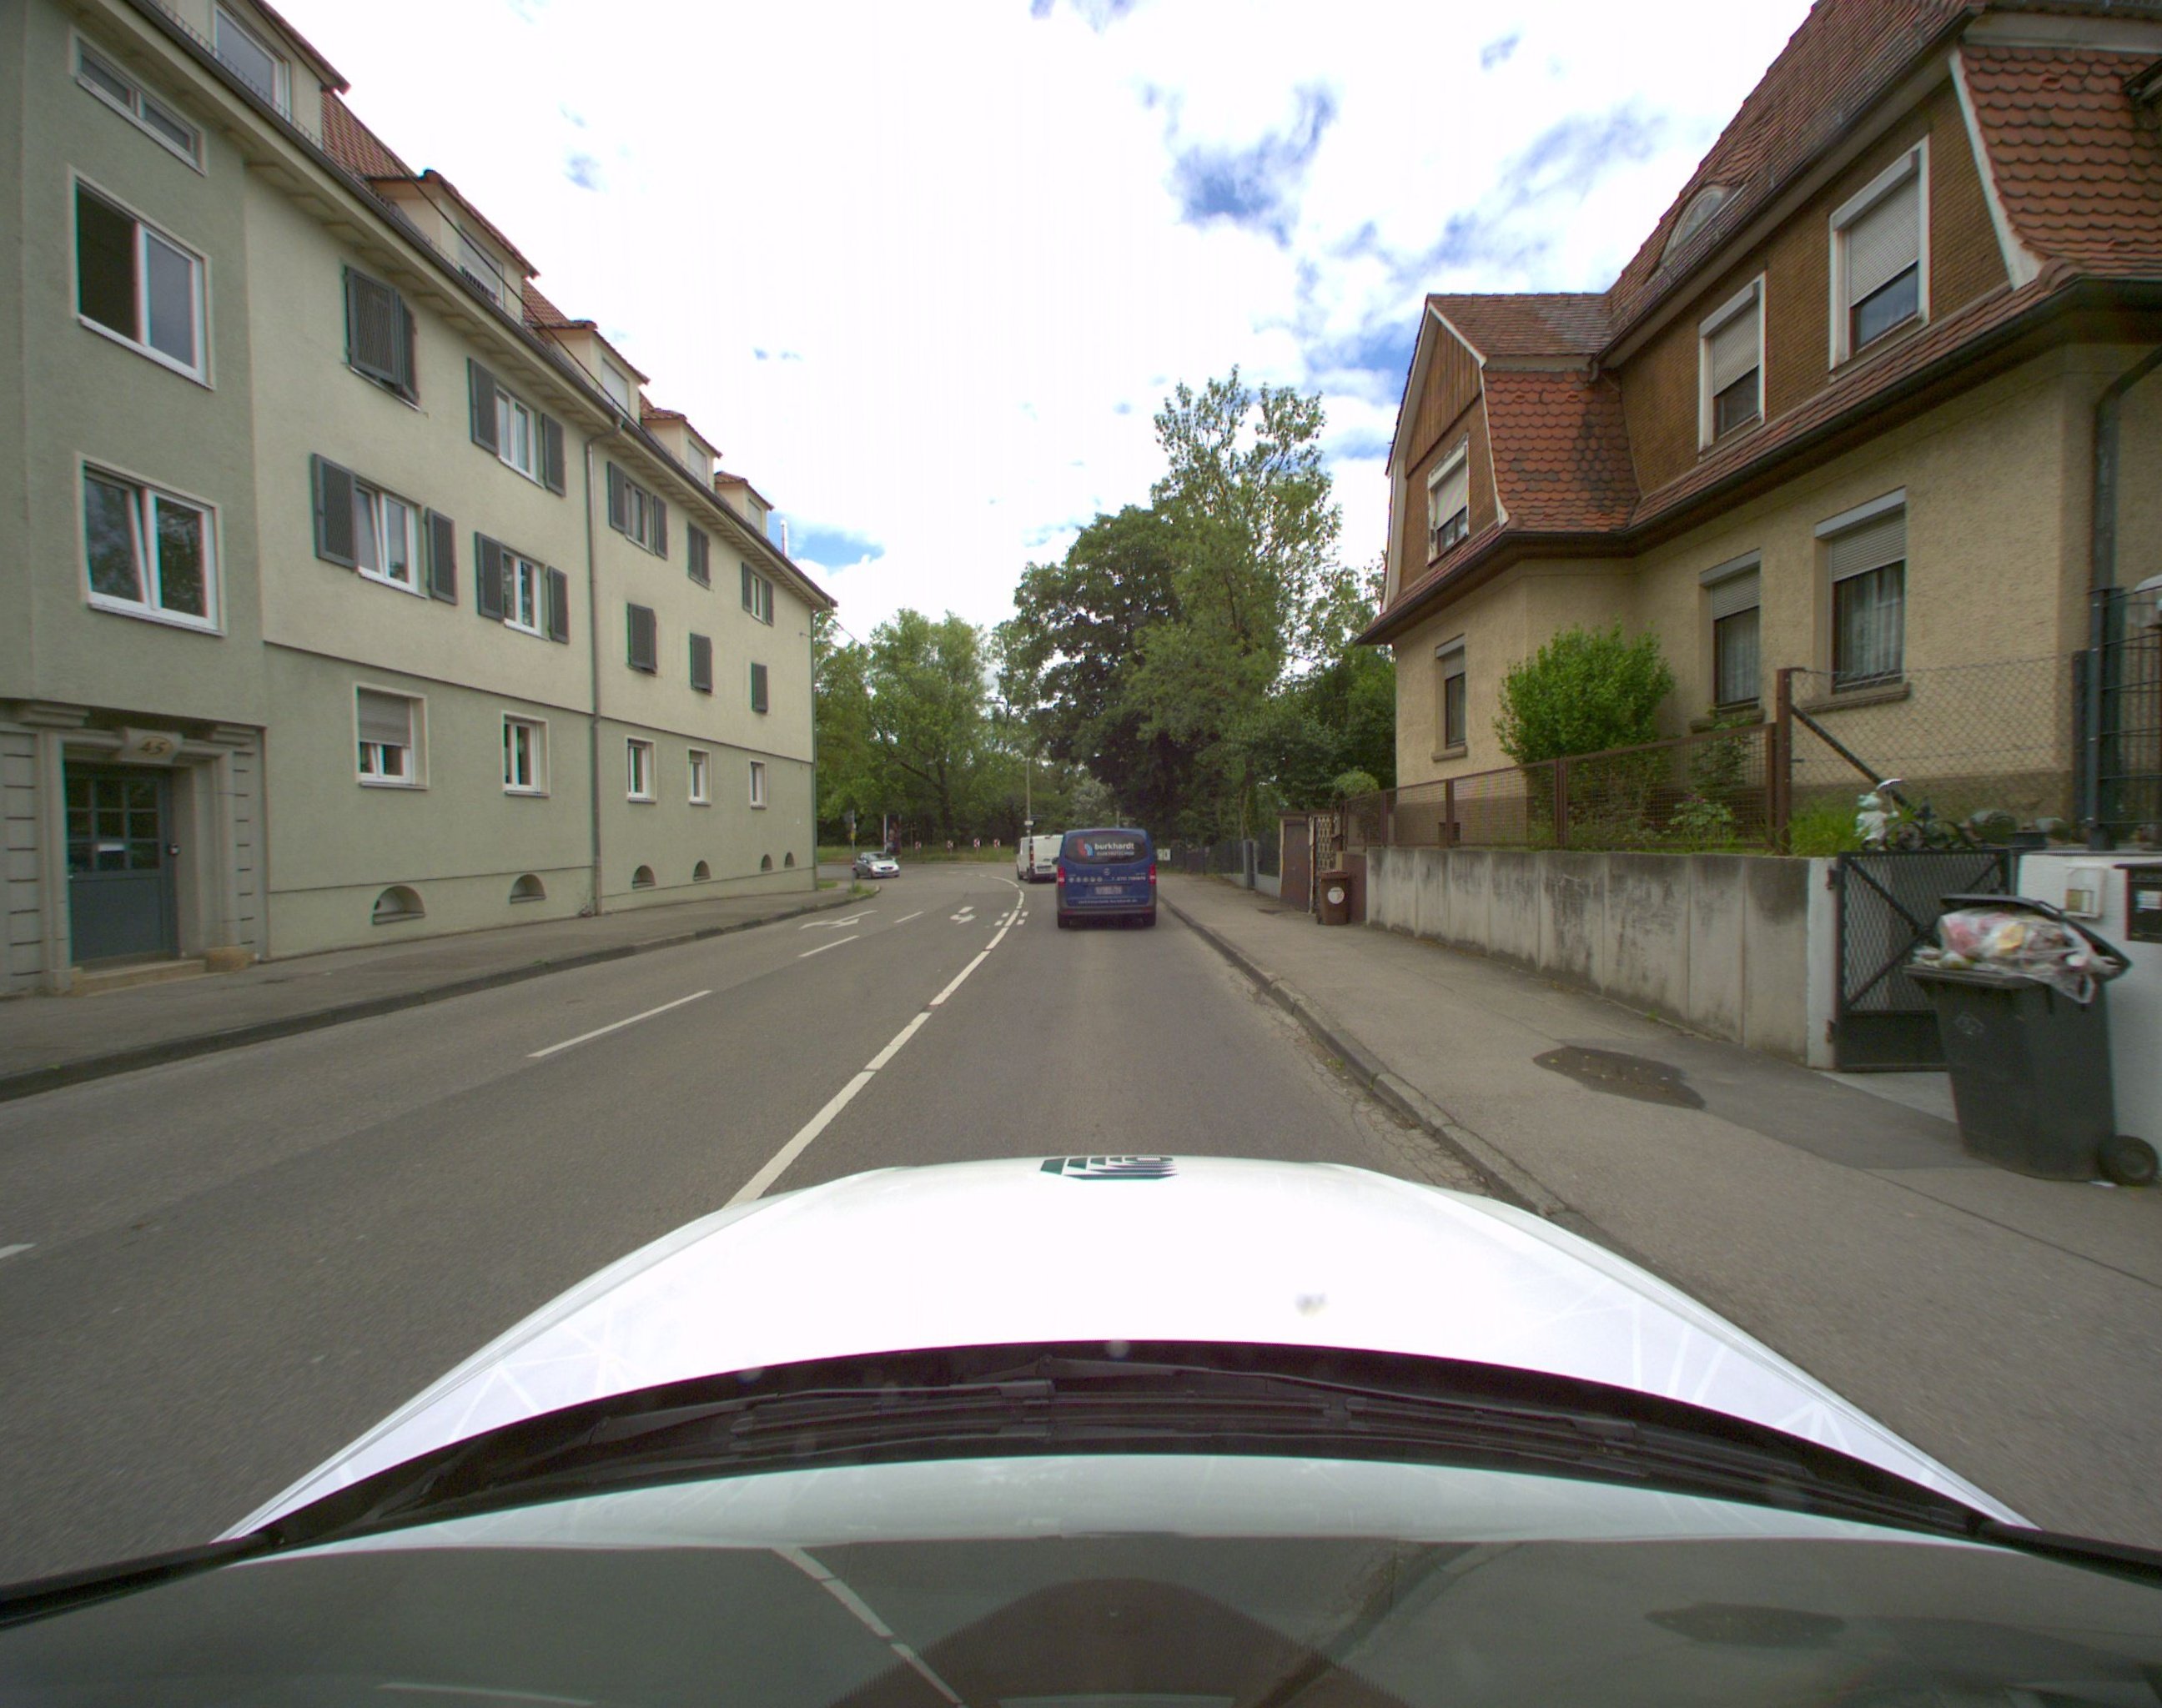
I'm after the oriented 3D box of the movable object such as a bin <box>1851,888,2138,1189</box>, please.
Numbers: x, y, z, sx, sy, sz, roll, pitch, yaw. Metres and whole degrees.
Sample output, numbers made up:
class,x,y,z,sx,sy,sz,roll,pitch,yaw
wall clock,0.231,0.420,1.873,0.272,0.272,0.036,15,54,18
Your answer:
class,x,y,z,sx,sy,sz,roll,pitch,yaw
movable object such as a bin,4.085,0.776,3.691,0.526,1.178,0.634,-4,0,-1

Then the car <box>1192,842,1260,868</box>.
class,x,y,z,sx,sy,sz,roll,pitch,yaw
car,8.867,0.082,49.799,3.667,1.398,1.821,3,-1,-16

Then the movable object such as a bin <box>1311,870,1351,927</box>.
class,x,y,z,sx,sy,sz,roll,pitch,yaw
movable object such as a bin,4.299,0.753,14.040,0.460,0.924,0.566,-4,0,-1

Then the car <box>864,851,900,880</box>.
class,x,y,z,sx,sy,sz,roll,pitch,yaw
car,-12.093,0.690,49.432,1.728,1.605,3.951,-3,1,-19

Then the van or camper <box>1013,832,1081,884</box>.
class,x,y,z,sx,sy,sz,roll,pitch,yaw
van or camper,-1.545,0.155,34.991,2.021,1.956,4.876,-4,1,-12

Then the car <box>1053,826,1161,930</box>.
class,x,y,z,sx,sy,sz,roll,pitch,yaw
car,0.416,0.408,16.662,1.908,1.837,4.291,-1,1,-2
